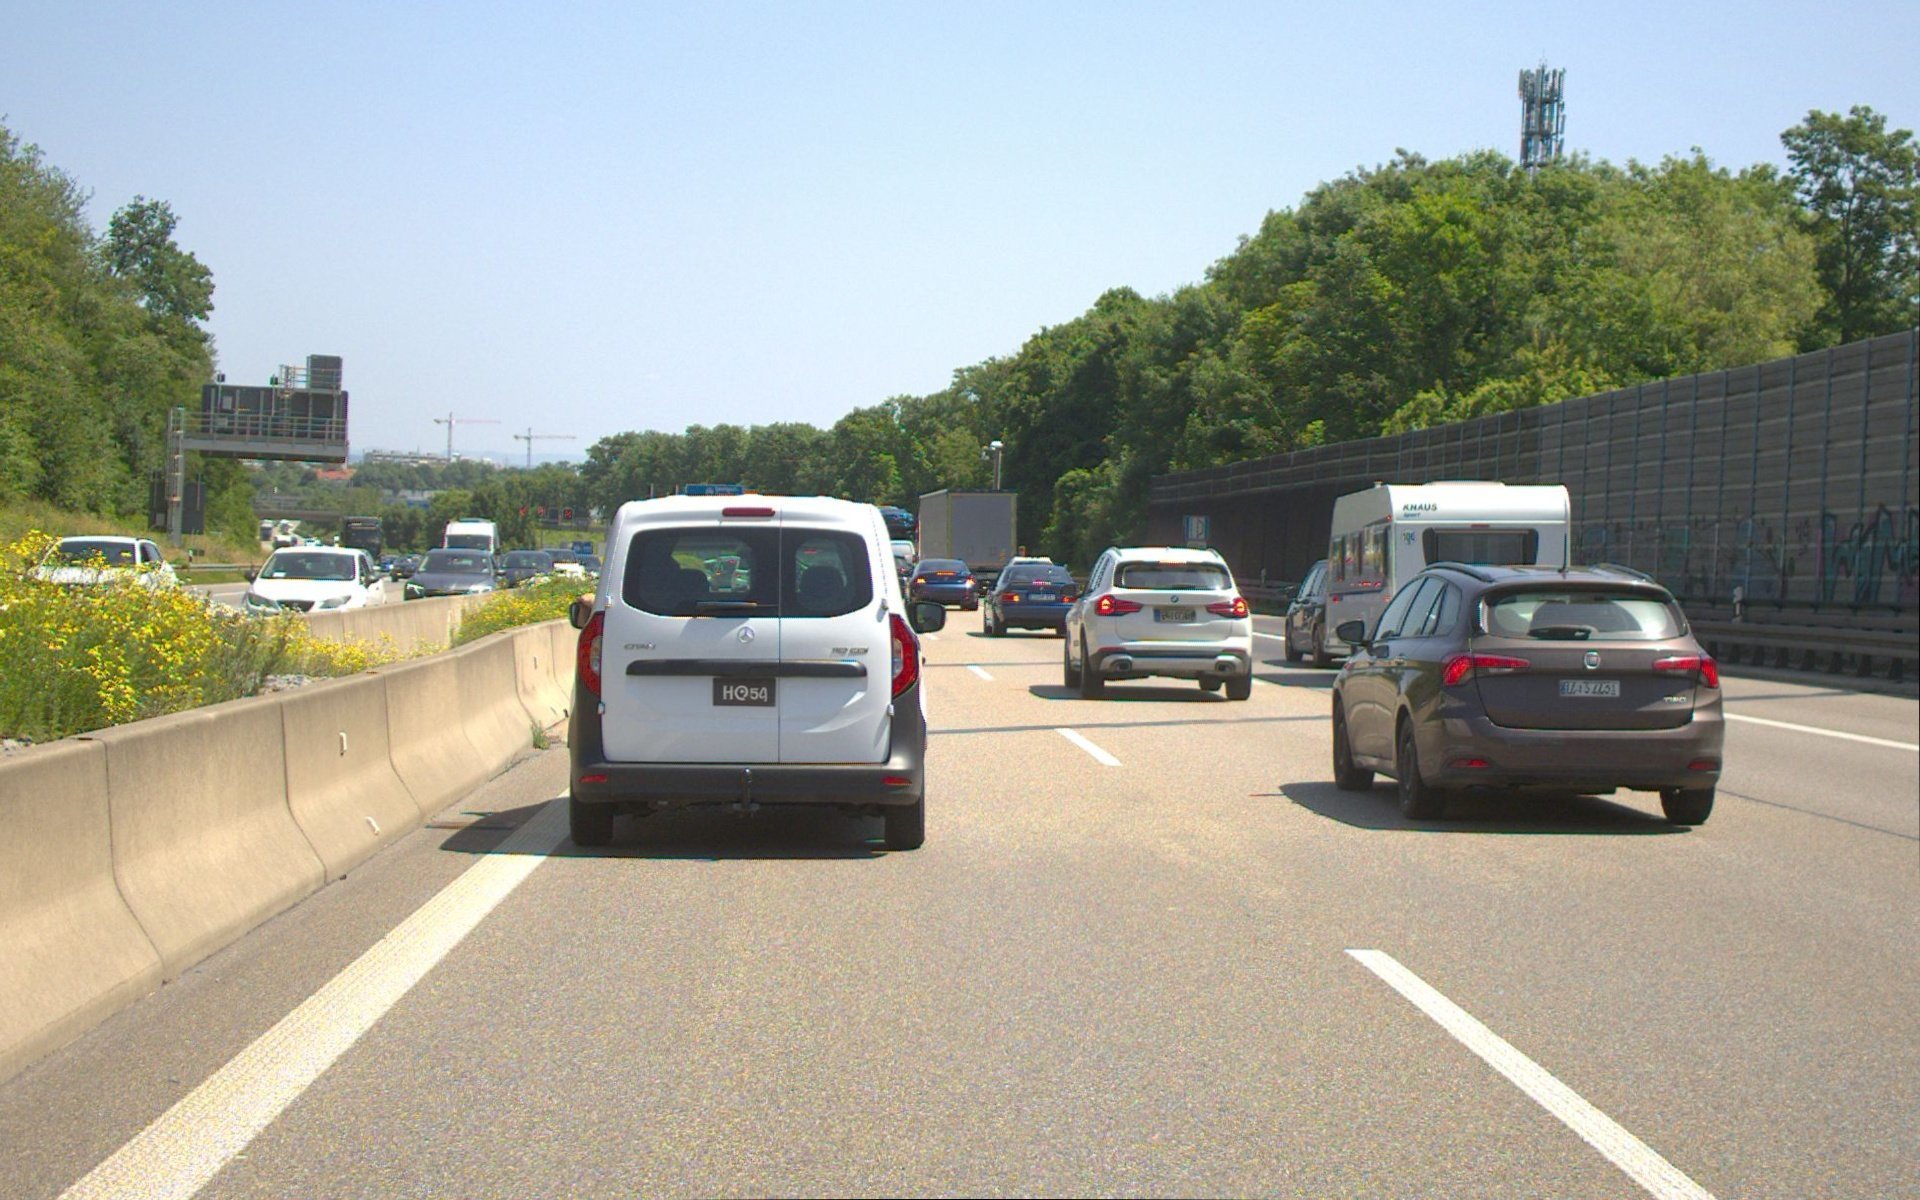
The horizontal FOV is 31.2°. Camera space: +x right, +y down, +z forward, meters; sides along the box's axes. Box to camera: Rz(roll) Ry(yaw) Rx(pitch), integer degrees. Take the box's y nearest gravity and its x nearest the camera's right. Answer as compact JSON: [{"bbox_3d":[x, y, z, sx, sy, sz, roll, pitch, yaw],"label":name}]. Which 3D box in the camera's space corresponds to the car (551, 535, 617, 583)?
[{"bbox_3d":[-12.378,-1.354,113.270,1.804,1.521,4.257,1,1,-2],"label":"car"}]

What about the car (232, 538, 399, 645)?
[{"bbox_3d":[-9.038,-0.139,48.476,1.632,1.423,4.036,1,1,-1],"label":"car"}]

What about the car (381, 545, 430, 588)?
[{"bbox_3d":[-26.669,-1.613,165.429,1.993,2.007,4.001,1,1,-4],"label":"car"}]

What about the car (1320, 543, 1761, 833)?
[{"bbox_3d":[3.386,0.444,20.899,1.838,1.508,4.402,1,1,-1],"label":"car"}]

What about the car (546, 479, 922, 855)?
[{"bbox_3d":[-1.128,0.297,18.679,1.802,1.802,4.000,1,1,-1],"label":"car"}]

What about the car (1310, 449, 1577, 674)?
[{"bbox_3d":[6.335,-0.515,45.891,2.478,2.756,6.220,1,1,-2],"label":"car"}]

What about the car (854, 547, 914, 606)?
[{"bbox_3d":[-2.640,-0.833,118.505,1.824,1.982,4.001,0,1,-5],"label":"car"}]

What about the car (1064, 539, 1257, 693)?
[{"bbox_3d":[2.226,0.138,39.153,1.871,1.603,3.879,1,1,-1],"label":"car"}]

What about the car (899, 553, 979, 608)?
[{"bbox_3d":[-0.581,-0.548,93.548,1.824,1.419,4.001,1,1,-5],"label":"car"}]

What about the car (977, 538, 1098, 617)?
[{"bbox_3d":[1.431,-0.442,65.111,1.824,1.419,4.001,1,1,-5],"label":"car"}]

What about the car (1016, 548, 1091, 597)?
[{"bbox_3d":[2.848,-0.862,105.884,1.824,1.419,4.001,1,1,-5],"label":"car"}]

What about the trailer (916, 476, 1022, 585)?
[{"bbox_3d":[0.274,-2.630,131.826,3.081,3.972,10.325,1,1,-5],"label":"trailer"}]

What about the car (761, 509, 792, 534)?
[{"bbox_3d":[-13.140,-5.600,245.888,1.993,1.722,4.001,1,1,-5],"label":"car"}]

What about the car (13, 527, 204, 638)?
[{"bbox_3d":[-12.509,-0.277,50.712,1.842,1.541,4.000,1,1,-1],"label":"car"}]

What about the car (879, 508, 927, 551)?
[{"bbox_3d":[-2.762,-3.372,165.328,1.993,2.007,4.001,1,1,-5],"label":"car"}]

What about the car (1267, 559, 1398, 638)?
[{"bbox_3d":[7.056,-0.047,65.418,1.824,1.419,4.001,1,1,-3],"label":"car"}]

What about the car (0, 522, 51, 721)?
[{"bbox_3d":[-7.698,0.148,23.666,1.805,1.414,4.077,1,1,-1],"label":"car"}]

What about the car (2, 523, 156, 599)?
[{"bbox_3d":[-17.753,-0.795,69.473,1.993,1.476,4.691,1,1,-1],"label":"car"}]

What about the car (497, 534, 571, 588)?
[{"bbox_3d":[-11.747,-1.081,95.032,1.665,1.423,3.857,1,1,-2],"label":"car"}]

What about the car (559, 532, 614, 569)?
[{"bbox_3d":[-14.725,-1.952,135.775,1.875,1.406,4.413,1,1,-3],"label":"car"}]

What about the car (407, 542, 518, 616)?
[{"bbox_3d":[-9.817,-0.439,68.113,1.731,1.400,4.612,0,1,-3],"label":"car"}]
